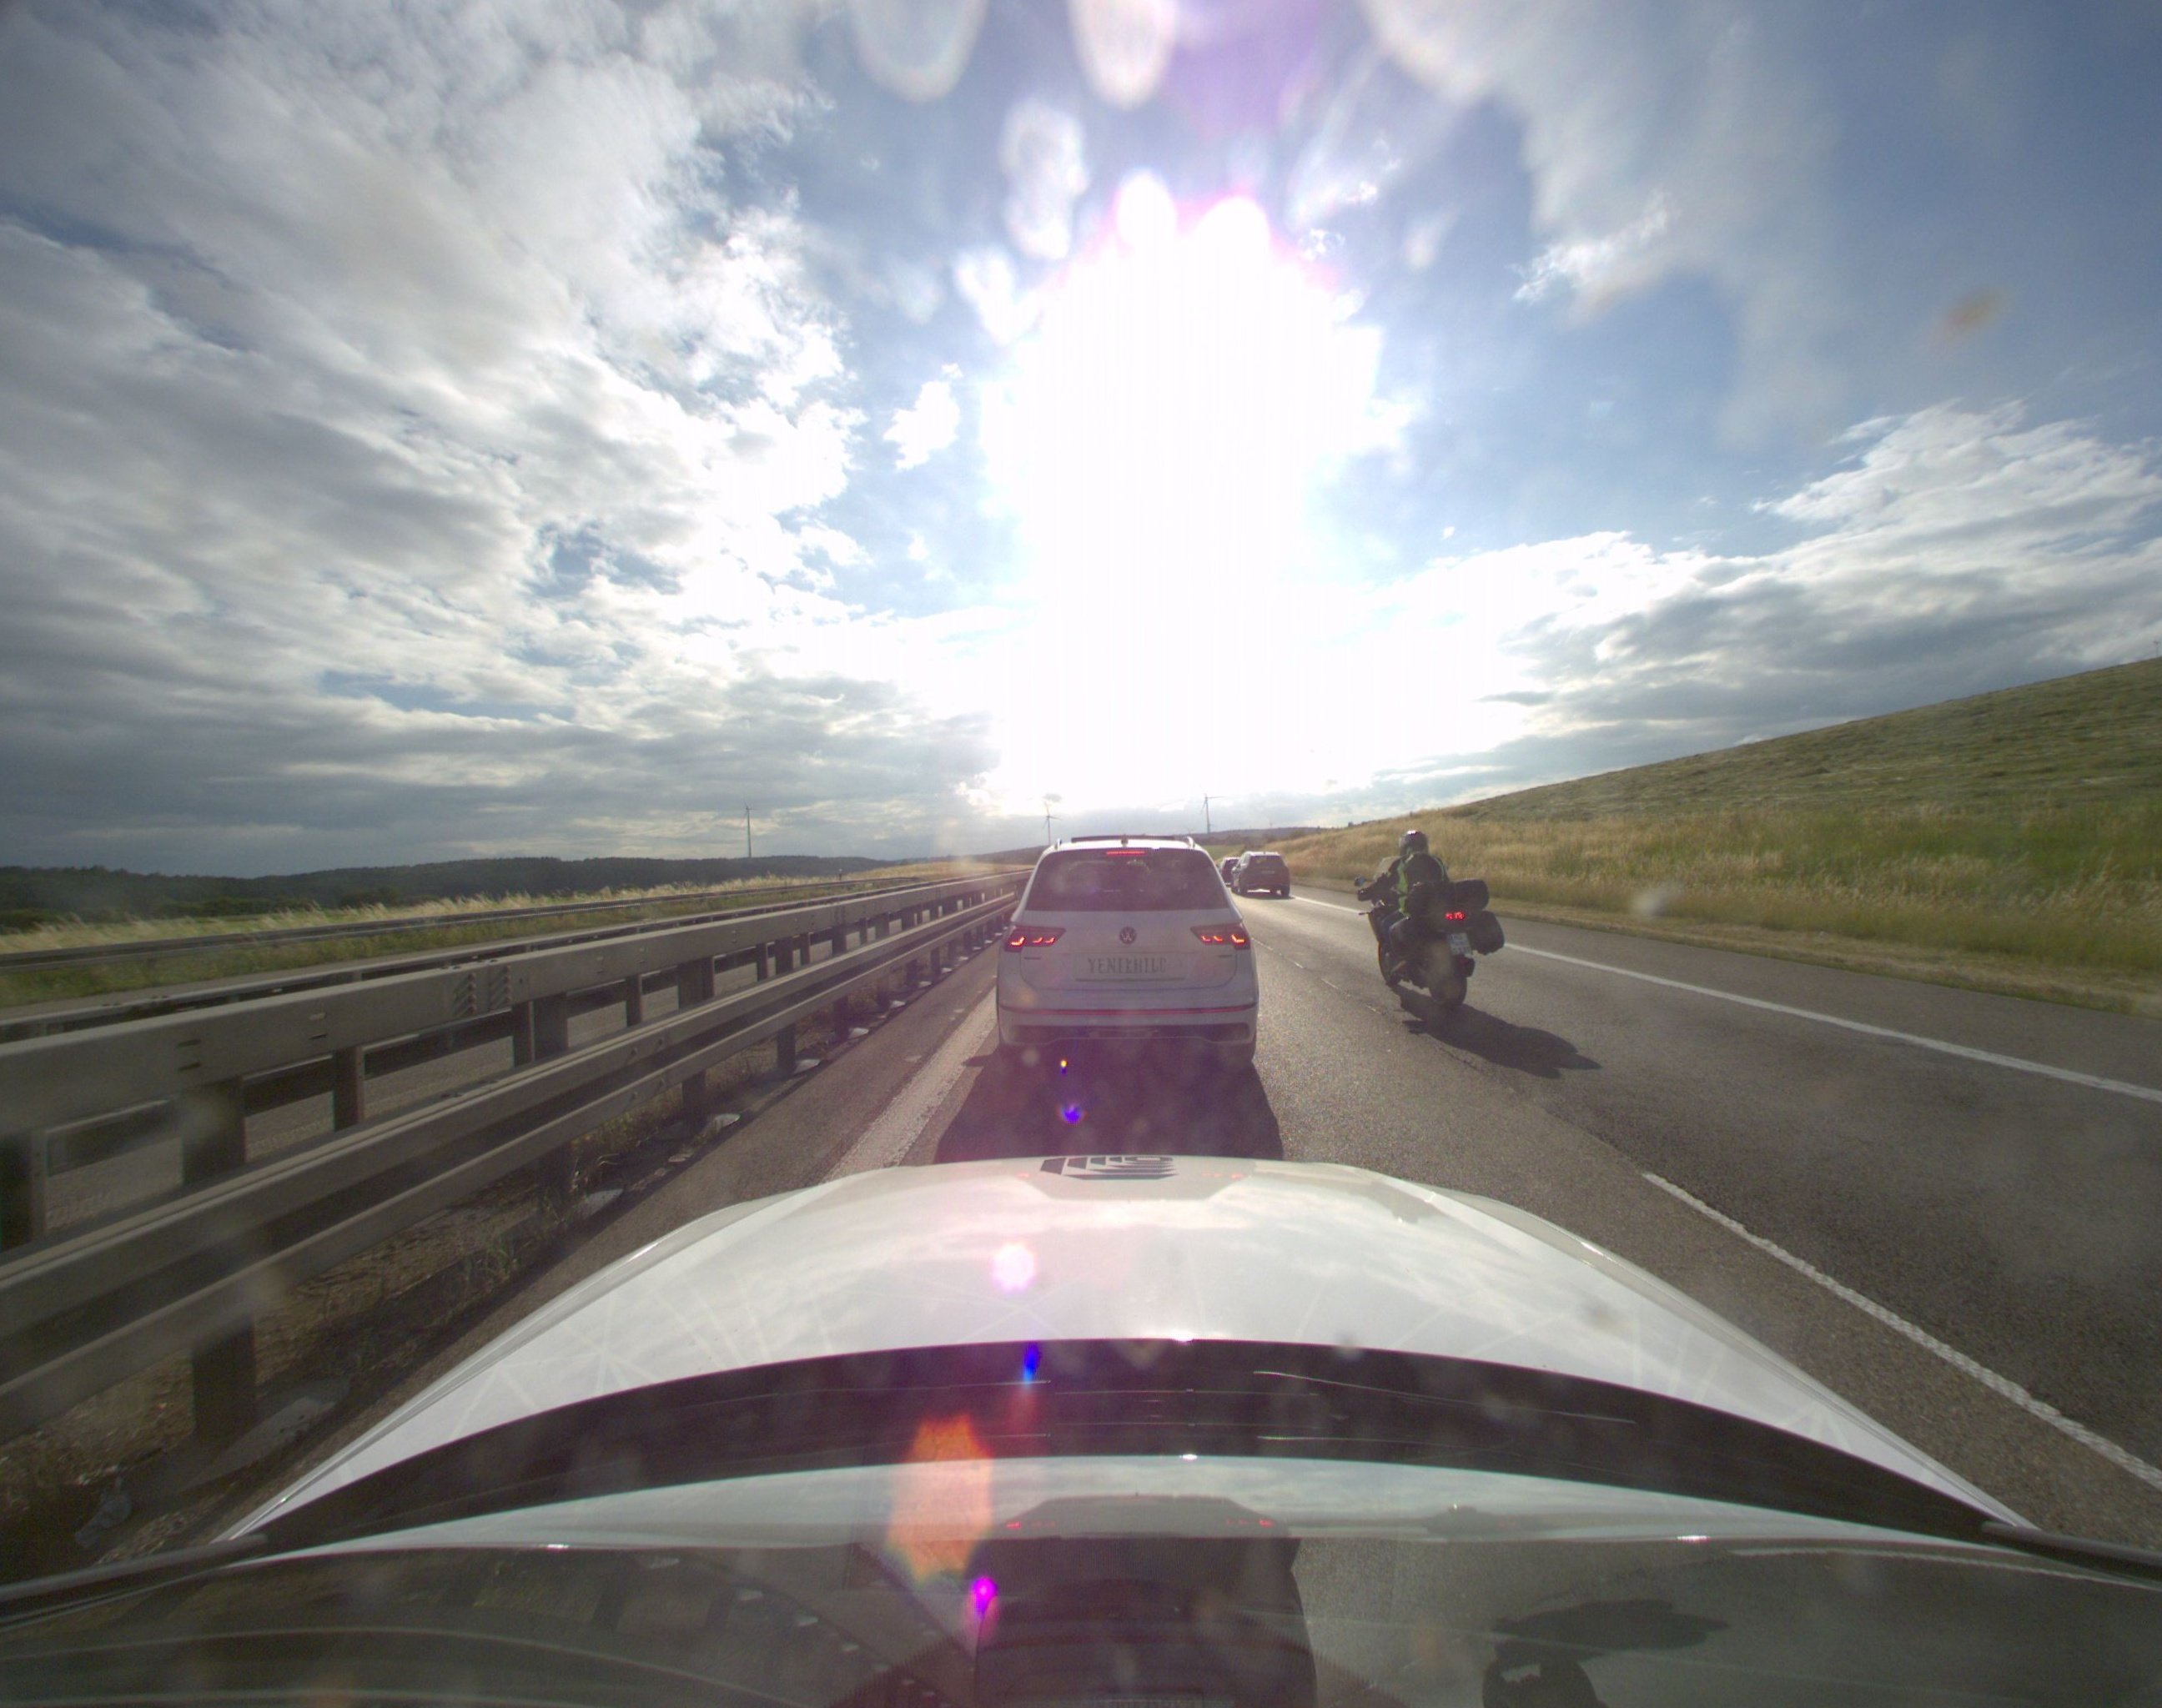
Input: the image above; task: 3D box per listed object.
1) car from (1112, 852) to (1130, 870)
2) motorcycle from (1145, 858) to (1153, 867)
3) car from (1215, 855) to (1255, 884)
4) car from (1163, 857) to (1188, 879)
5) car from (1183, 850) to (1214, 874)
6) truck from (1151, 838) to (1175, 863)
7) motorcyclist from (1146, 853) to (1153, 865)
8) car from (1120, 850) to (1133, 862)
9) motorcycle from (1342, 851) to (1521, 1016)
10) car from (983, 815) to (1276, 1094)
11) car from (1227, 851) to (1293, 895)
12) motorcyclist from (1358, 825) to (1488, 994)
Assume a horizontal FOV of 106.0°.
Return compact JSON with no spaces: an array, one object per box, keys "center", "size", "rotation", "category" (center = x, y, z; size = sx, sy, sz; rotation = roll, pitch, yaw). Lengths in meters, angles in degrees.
[{"center":[3.954,0.667,80.319],"size":[1.697,1.650,4.001],"rotation":[-1,-1,2],"category":"car"},{"center":[9.094,1.082,108.577],"size":[0.892,1.190,2.257],"rotation":[-1,-1,1],"category":"motorcycle"},{"center":[7.897,0.778,42.060],"size":[1.598,1.420,3.676],"rotation":[-1,-1,4],"category":"car"},{"center":[7.656,1.126,66.260],"size":[1.697,1.650,4.001],"rotation":[-1,-1,2],"category":"car"},{"center":[8.186,0.556,56.979],"size":[1.697,1.546,4.001],"rotation":[-1,-1,2],"category":"car"},{"center":[12.520,-0.484,125.418],"size":[3.170,3.594,11.142],"rotation":[-1,0,4],"category":"truck"},{"center":[9.085,0.626,108.538],"size":[0.846,1.560,0.934],"rotation":[-1,-1,1],"category":"motorcyclist"},{"center":[6.161,0.227,110.031],"size":[1.697,1.546,4.001],"rotation":[-1,-1,2],"category":"car"},{"center":[3.498,0.724,8.423],"size":[0.892,1.455,2.270],"rotation":[-1,-1,1],"category":"motorcycle"},{"center":[0.364,0.637,7.002],"size":[1.763,1.675,4.001],"rotation":[-1,-1,2],"category":"car"},{"center":[6.914,0.705,31.851],"size":[1.814,1.601,4.237],"rotation":[0,-1,3],"category":"car"},{"center":[3.489,0.538,8.407],"size":[0.892,1.617,1.022],"rotation":[-1,-1,1],"category":"motorcyclist"}]
